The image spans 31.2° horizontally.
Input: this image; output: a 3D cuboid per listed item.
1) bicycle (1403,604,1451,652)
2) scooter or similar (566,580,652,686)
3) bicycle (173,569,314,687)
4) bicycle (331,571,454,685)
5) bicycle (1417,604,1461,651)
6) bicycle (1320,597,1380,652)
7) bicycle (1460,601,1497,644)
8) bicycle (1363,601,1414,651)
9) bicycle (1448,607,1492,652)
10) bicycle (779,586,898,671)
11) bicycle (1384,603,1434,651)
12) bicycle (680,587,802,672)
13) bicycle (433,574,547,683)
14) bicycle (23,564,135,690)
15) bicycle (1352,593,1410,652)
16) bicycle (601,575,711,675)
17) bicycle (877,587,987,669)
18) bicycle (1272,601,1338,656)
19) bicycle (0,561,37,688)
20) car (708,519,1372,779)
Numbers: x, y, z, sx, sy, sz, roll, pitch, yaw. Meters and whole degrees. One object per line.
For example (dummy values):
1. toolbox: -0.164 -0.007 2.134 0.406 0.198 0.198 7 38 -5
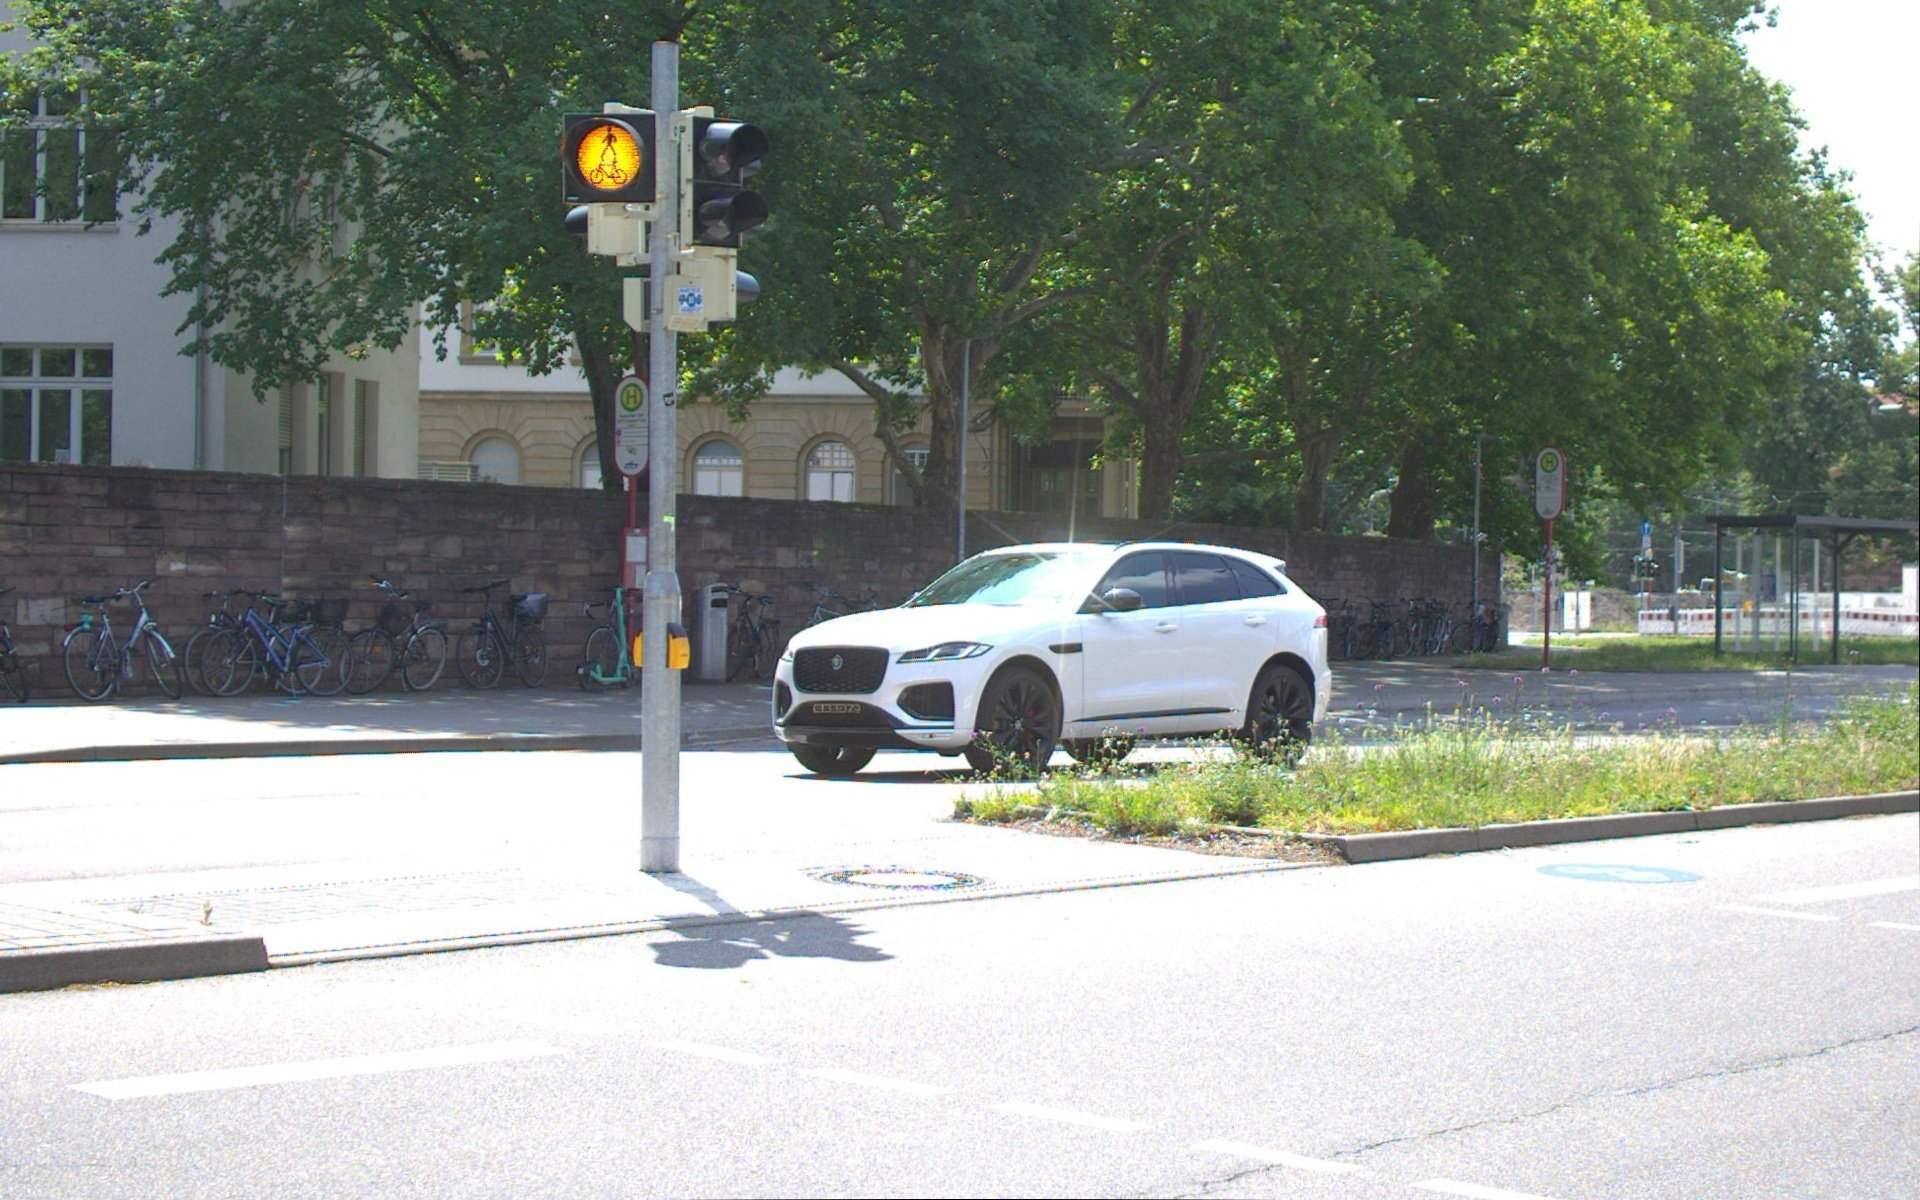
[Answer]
1. bicycle: 9.139 0.545 67.265 0.544 0.899 1.663 1 1 21
2. scooter or similar: -3.891 0.357 38.173 0.432 1.148 1.192 1 1 21
3. bicycle: -7.141 0.272 34.344 0.402 1.148 1.591 1 1 30
4. bicycle: -5.889 0.279 35.772 0.533 1.148 1.592 1 1 20
5. bicycle: 9.620 0.548 68.987 0.452 0.899 1.792 1 1 21
6. bicycle: 6.910 0.425 60.836 0.544 0.948 1.663 1 1 25
7. bicycle: 11.228 0.485 74.398 0.544 0.899 1.664 1 1 16
8. bicycle: 7.985 0.485 64.043 0.544 0.899 1.663 1 1 21
9. bicycle: 10.748 0.617 72.366 0.544 0.899 1.663 1 1 21
10. bicycle: -1.524 0.355 43.473 0.544 1.044 1.946 1 1 30
11. bicycle: 8.578 0.510 65.663 0.544 0.899 1.663 1 1 21
12. bicycle: -2.642 0.353 41.638 0.481 1.004 1.798 1 1 33
13. bicycle: -5.103 0.301 37.396 0.533 1.148 1.592 1 1 20
14. bicycle: -8.238 0.242 32.180 0.401 1.148 1.594 1 1 9
15. bicycle: 7.636 0.394 62.365 0.544 1.048 1.622 1 1 25
16. bicycle: -3.538 0.282 40.161 0.432 1.139 1.591 1 1 30
17. bicycle: -0.358 0.363 45.315 0.544 1.044 1.892 1 1 30
18. bicycle: 5.858 0.471 58.286 0.544 0.899 1.663 1 1 26
19. bicycle: -8.933 0.223 31.295 0.401 1.148 1.594 1 1 9
20. car: 0.668 0.309 24.526 2.076 1.661 4.763 1 1 43
